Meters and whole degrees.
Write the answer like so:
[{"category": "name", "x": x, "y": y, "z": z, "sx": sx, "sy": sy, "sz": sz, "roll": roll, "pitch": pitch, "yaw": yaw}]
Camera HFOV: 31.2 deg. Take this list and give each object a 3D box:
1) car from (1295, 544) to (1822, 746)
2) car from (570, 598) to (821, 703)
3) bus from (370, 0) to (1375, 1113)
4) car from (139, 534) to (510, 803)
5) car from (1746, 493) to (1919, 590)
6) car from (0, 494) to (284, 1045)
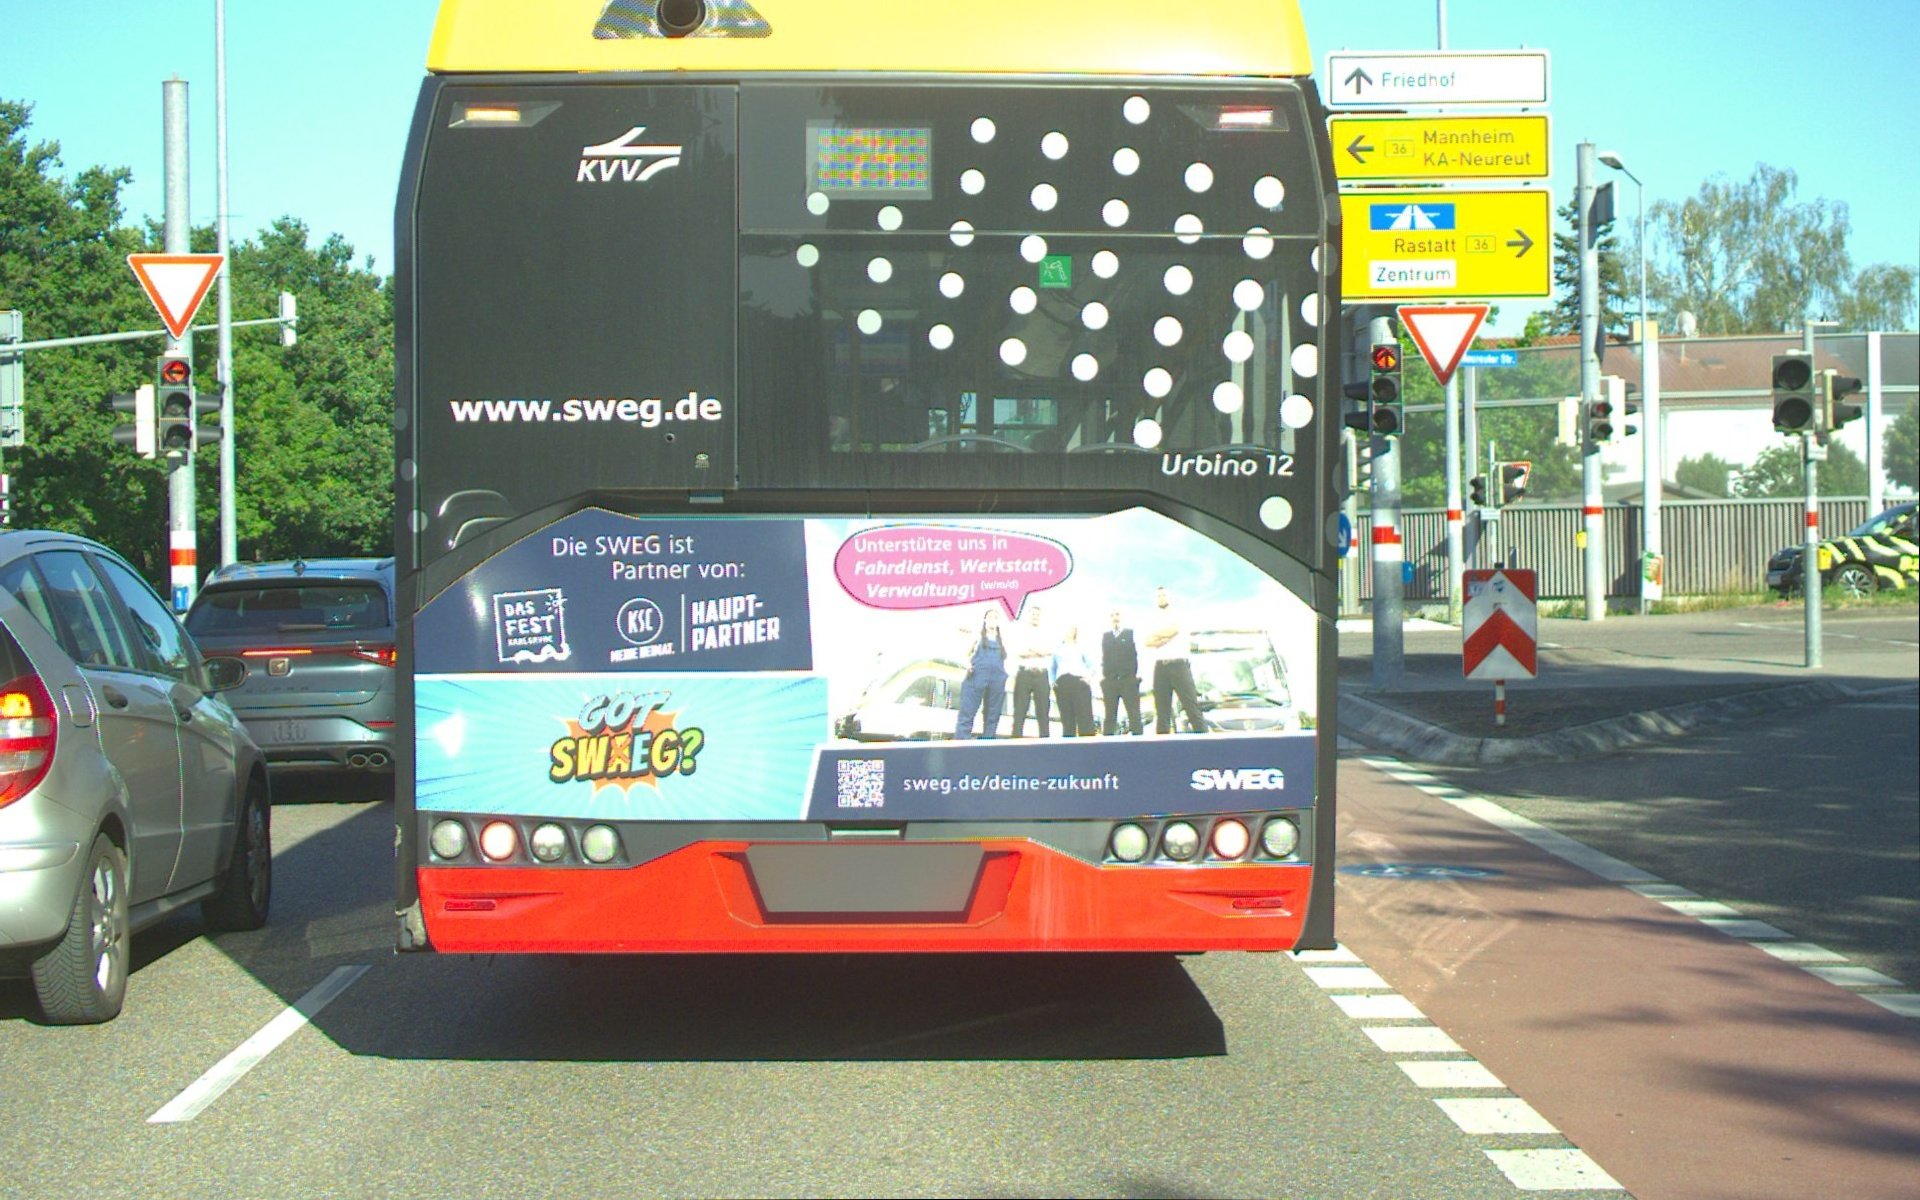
[{"category": "car", "x": 4.169, "y": 0.289, "z": 24.210, "sx": 3.523, "sy": 1.297, "sz": 1.574, "roll": 1, "pitch": 2, "yaw": 8}, {"category": "car", "x": -4.310, "y": 0.806, "z": 55.806, "sx": 3.986, "sy": 1.606, "sz": 1.696, "roll": -1, "pitch": 1, "yaw": -6}, {"category": "bus", "x": -0.298, "y": -0.435, "z": 14.945, "sx": 2.596, "sy": 3.323, "sz": 11.984, "roll": 0, "pitch": 1, "yaw": -1}, {"category": "car", "x": -3.787, "y": 0.375, "z": 21.017, "sx": 1.588, "sy": 1.480, "sz": 3.682, "roll": -1, "pitch": 0, "yaw": 0}, {"category": "car", "x": 13.227, "y": -0.799, "z": 47.858, "sx": 4.159, "sy": 1.298, "sz": 1.575, "roll": 0, "pitch": 0, "yaw": -4}, {"category": "car", "x": -3.612, "y": 0.451, "z": 12.194, "sx": 1.753, "sy": 1.614, "sz": 4.034, "roll": -1, "pitch": 2, "yaw": -2}]
